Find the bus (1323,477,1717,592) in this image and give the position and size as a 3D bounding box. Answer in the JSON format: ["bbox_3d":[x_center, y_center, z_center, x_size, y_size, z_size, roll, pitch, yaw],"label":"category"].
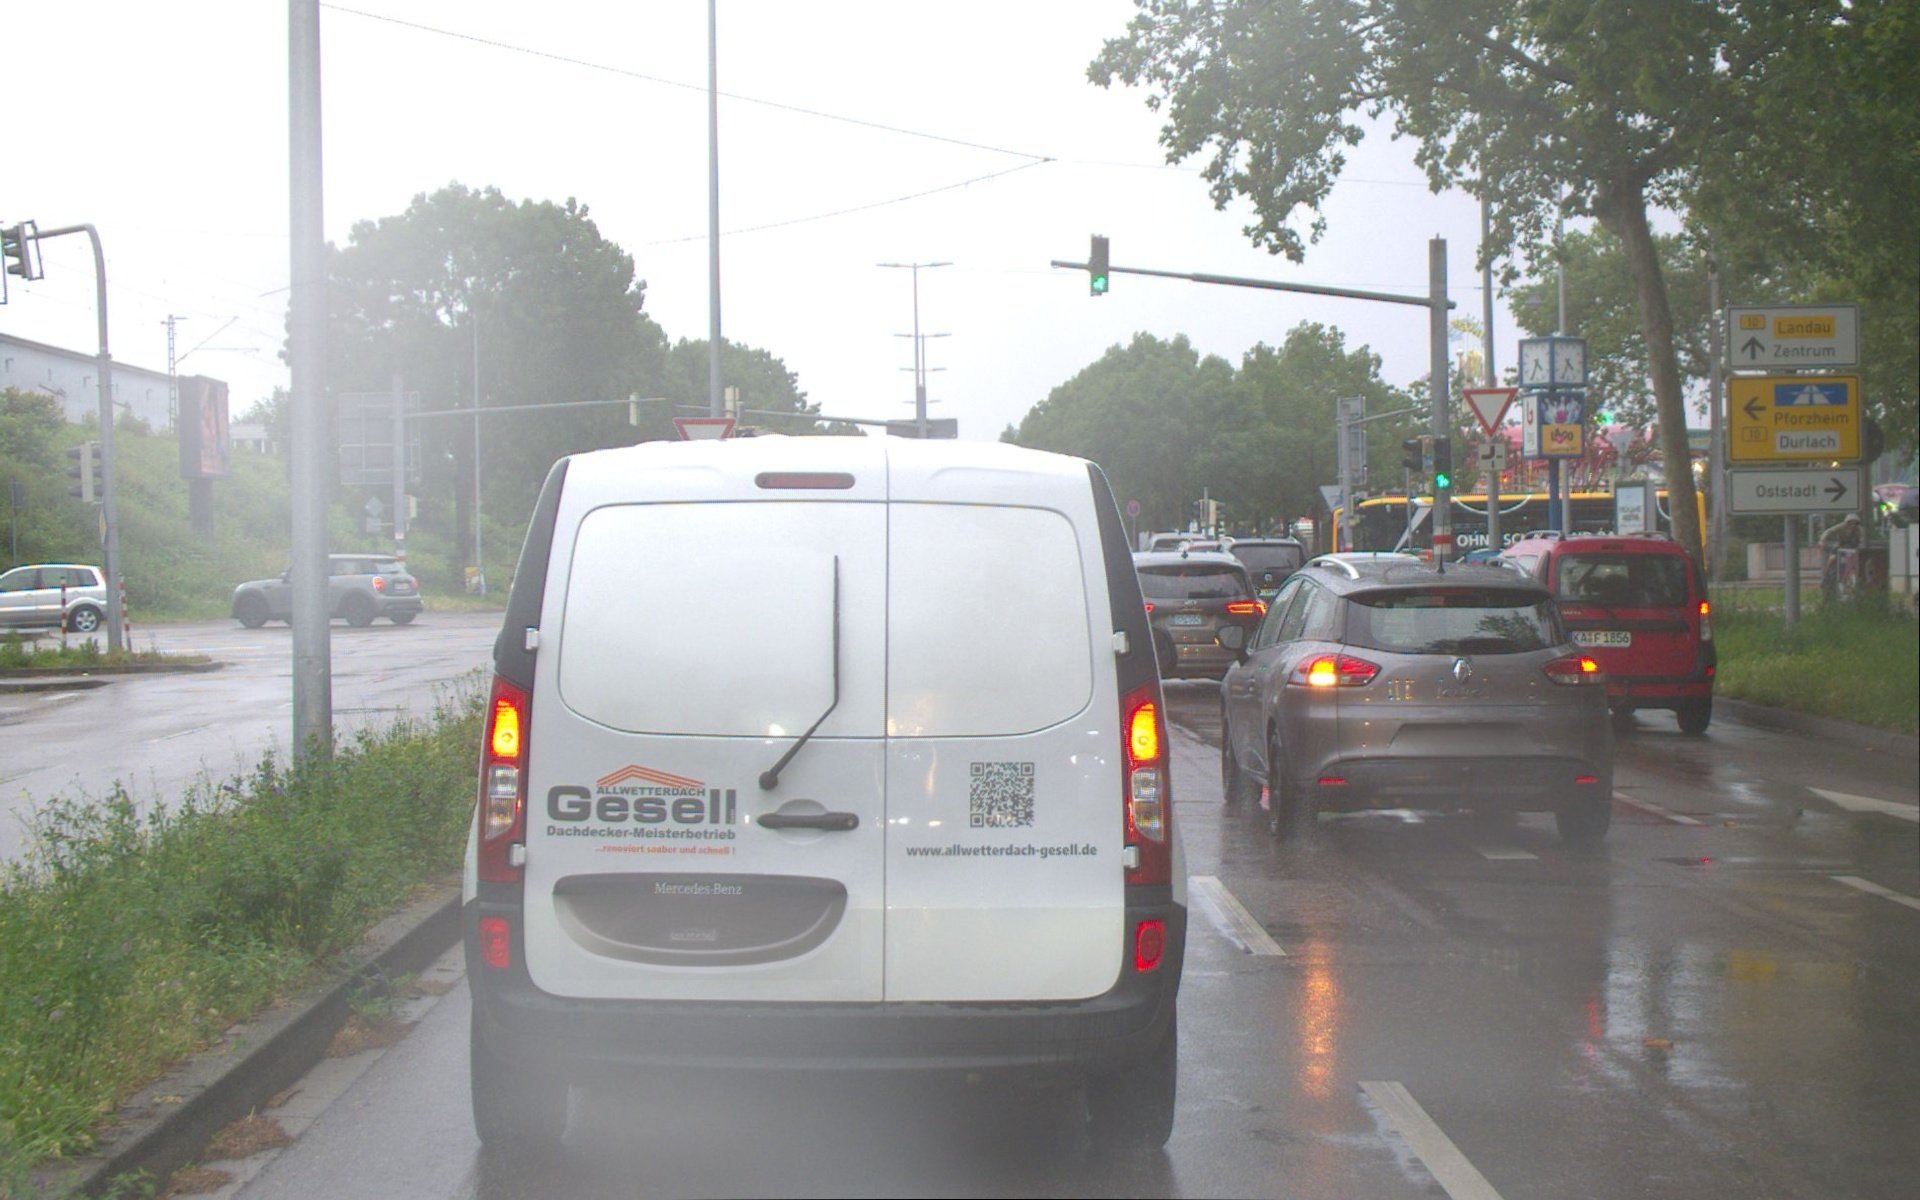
[{"bbox_3d":[17.606,-2.081,108.460,11.969,3.411,2.483,-1,1,-3],"label":"bus"}]

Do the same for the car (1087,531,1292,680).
[{"bbox_3d":[2.326,0.019,35.716,1.854,1.455,3.843,0,1,0],"label":"car"}]

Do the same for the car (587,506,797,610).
[{"bbox_3d":[-4.938,-0.784,62.929,1.994,1.809,3.999,-2,2,-36],"label":"car"}]

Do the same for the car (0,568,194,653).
[{"bbox_3d":[-18.851,0.228,74.829,3.986,1.711,2.000,-2,0,-20],"label":"car"}]

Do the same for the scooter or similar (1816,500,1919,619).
[{"bbox_3d":[20.395,-0.834,70.659,1.890,2.437,5.316,-1,1,-40],"label":"scooter or similar"}]

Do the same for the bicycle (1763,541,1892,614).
[{"bbox_3d":[14.448,-0.389,57.197,0.620,1.182,3.366,1,1,41],"label":"bicycle"}]

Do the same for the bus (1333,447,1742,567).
[{"bbox_3d":[17.482,-2.820,104.476,11.970,3.411,2.315,-1,1,0],"label":"bus"}]

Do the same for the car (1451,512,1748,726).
[{"bbox_3d":[5.433,0.140,29.713,1.710,1.688,4.272,1,0,-1],"label":"car"}]

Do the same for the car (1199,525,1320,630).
[{"bbox_3d":[5.079,-0.410,58.694,1.708,1.722,3.843,0,1,0],"label":"car"}]

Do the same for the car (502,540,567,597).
[{"bbox_3d":[-12.369,-0.925,100.095,1.468,1.554,3.508,-1,2,-1],"label":"car"}]

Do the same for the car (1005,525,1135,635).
[{"bbox_3d":[1.662,-0.338,53.025,1.854,1.644,3.843,0,1,0],"label":"car"}]

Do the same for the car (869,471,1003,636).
[{"bbox_3d":[-0.345,-0.683,49.507,1.854,2.288,3.843,0,1,0],"label":"car"}]

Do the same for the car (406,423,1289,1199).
[{"bbox_3d":[-0.269,0.437,10.066,1.993,1.770,4.585,0,1,0],"label":"car"}]

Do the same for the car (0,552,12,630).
[{"bbox_3d":[-20.880,-0.132,68.016,3.814,1.538,2.000,-2,0,-7],"label":"car"}]

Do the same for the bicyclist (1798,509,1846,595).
[{"bbox_3d":[14.307,-0.800,57.051,0.620,1.414,0.470,1,1,41],"label":"bicyclist"}]

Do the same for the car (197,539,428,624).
[{"bbox_3d":[-12.761,-0.377,67.798,4.183,1.645,1.798,0,1,23],"label":"car"}]

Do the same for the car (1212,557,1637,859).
[{"bbox_3d":[2.394,0.501,18.598,1.683,1.403,3.843,1,1,-1],"label":"car"}]
